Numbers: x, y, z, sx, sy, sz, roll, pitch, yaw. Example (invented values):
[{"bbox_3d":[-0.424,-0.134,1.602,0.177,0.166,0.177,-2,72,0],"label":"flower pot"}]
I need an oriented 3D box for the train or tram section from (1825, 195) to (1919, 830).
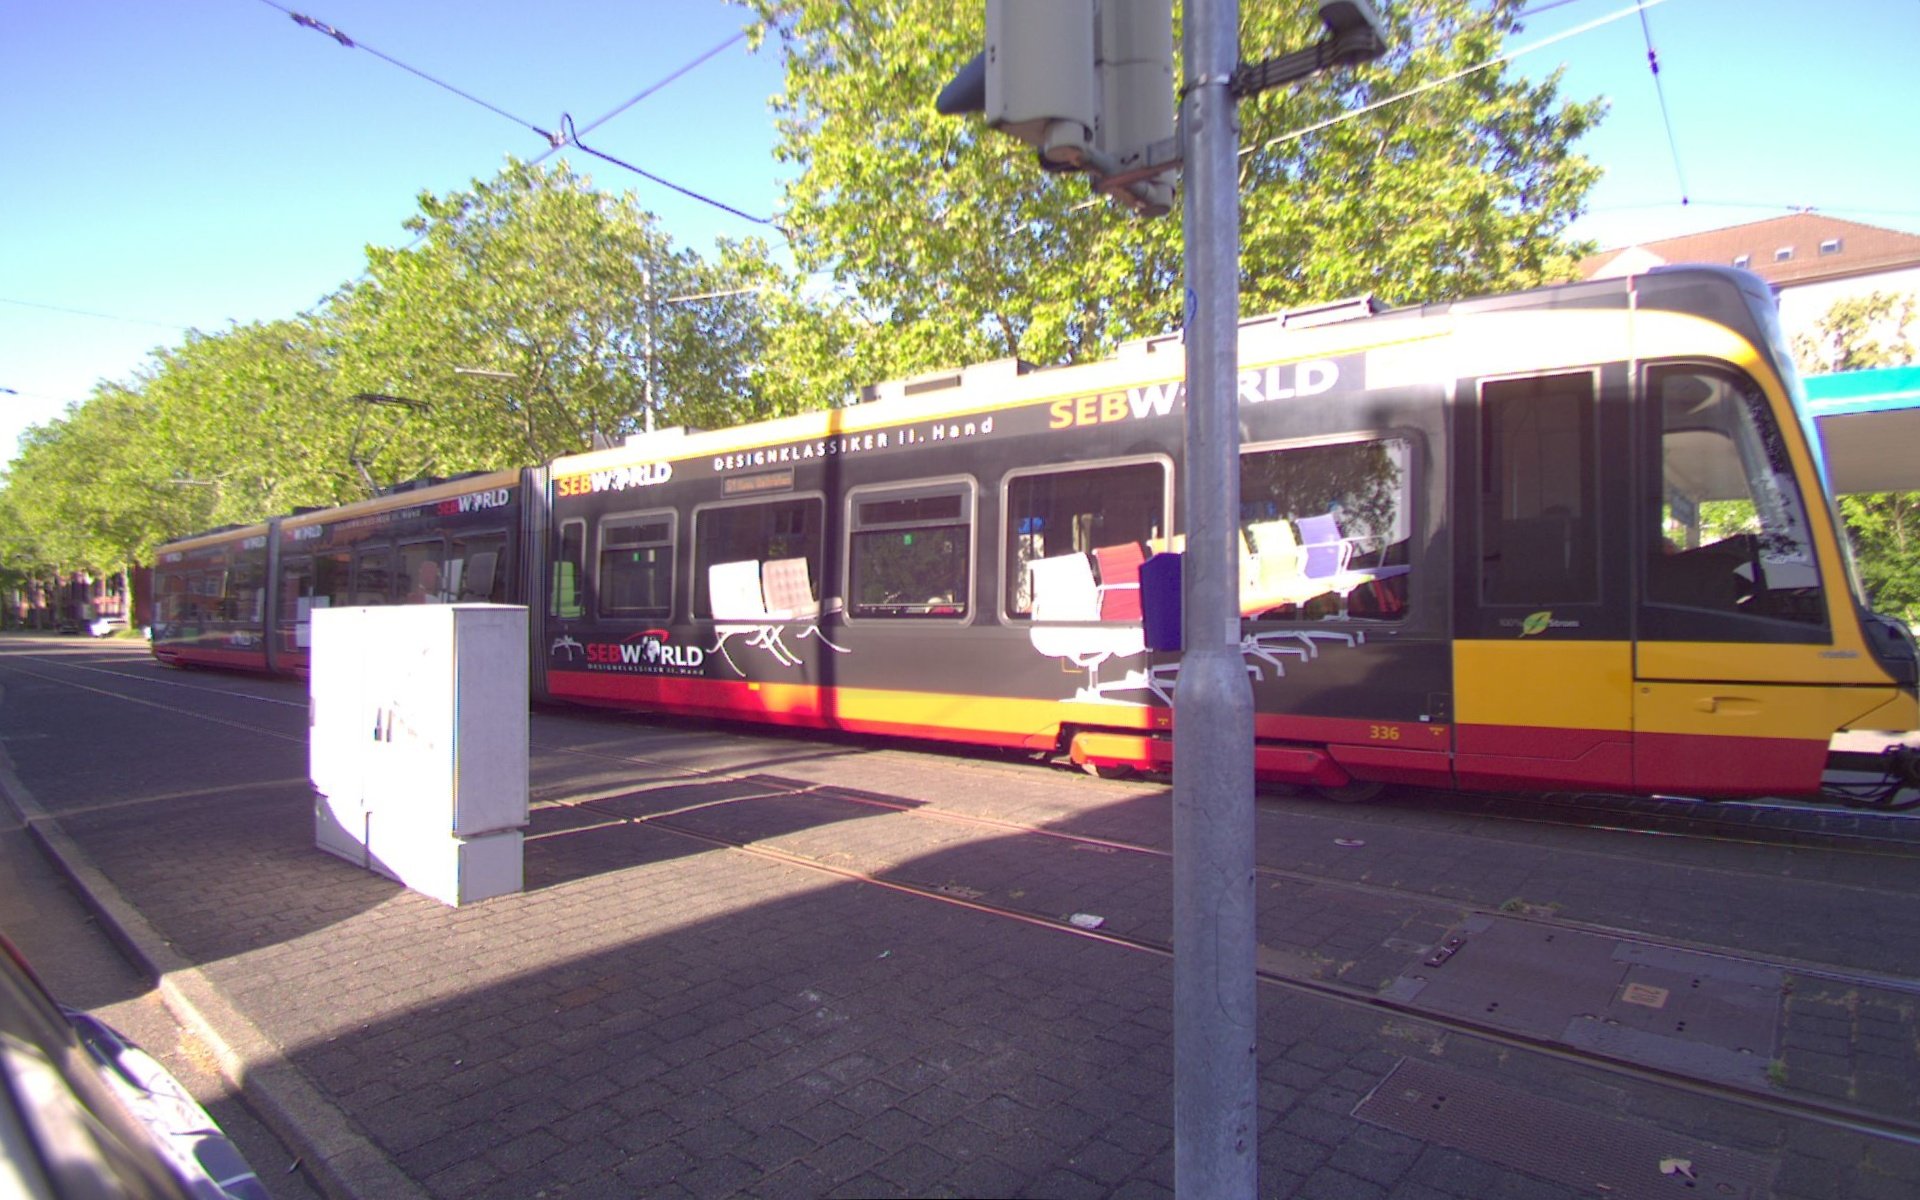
[{"bbox_3d":[10.894,-0.563,3.086,12.054,3.640,3.037,-1,-1,27],"label":"train or tram section"}]

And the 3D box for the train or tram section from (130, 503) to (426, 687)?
[{"bbox_3d":[-17.592,0.014,25.436,12.883,3.640,3.023,-1,-2,41],"label":"train or tram section"}]

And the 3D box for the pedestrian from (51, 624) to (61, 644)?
[{"bbox_3d":[-74.525,2.795,83.435,0.677,1.654,0.570,-1,-2,43],"label":"pedestrian"}]

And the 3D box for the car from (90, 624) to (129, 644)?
[{"bbox_3d":[-66.893,2.666,79.577,4.000,1.563,1.857,-1,-2,43],"label":"car"}]

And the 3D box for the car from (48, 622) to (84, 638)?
[{"bbox_3d":[-85.150,2.843,96.403,3.995,1.563,1.859,-1,-1,38],"label":"car"}]

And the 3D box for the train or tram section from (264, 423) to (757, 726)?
[{"bbox_3d":[-8.338,-0.198,17.251,11.945,3.640,3.023,-1,-2,42],"label":"train or tram section"}]

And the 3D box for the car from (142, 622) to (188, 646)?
[{"bbox_3d":[-53.804,2.256,68.458,4.000,1.563,1.857,-1,-2,43],"label":"car"}]

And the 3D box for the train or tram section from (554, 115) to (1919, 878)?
[{"bbox_3d":[0.874,-0.390,9.577,12.095,3.640,3.027,-1,-1,37],"label":"train or tram section"}]
